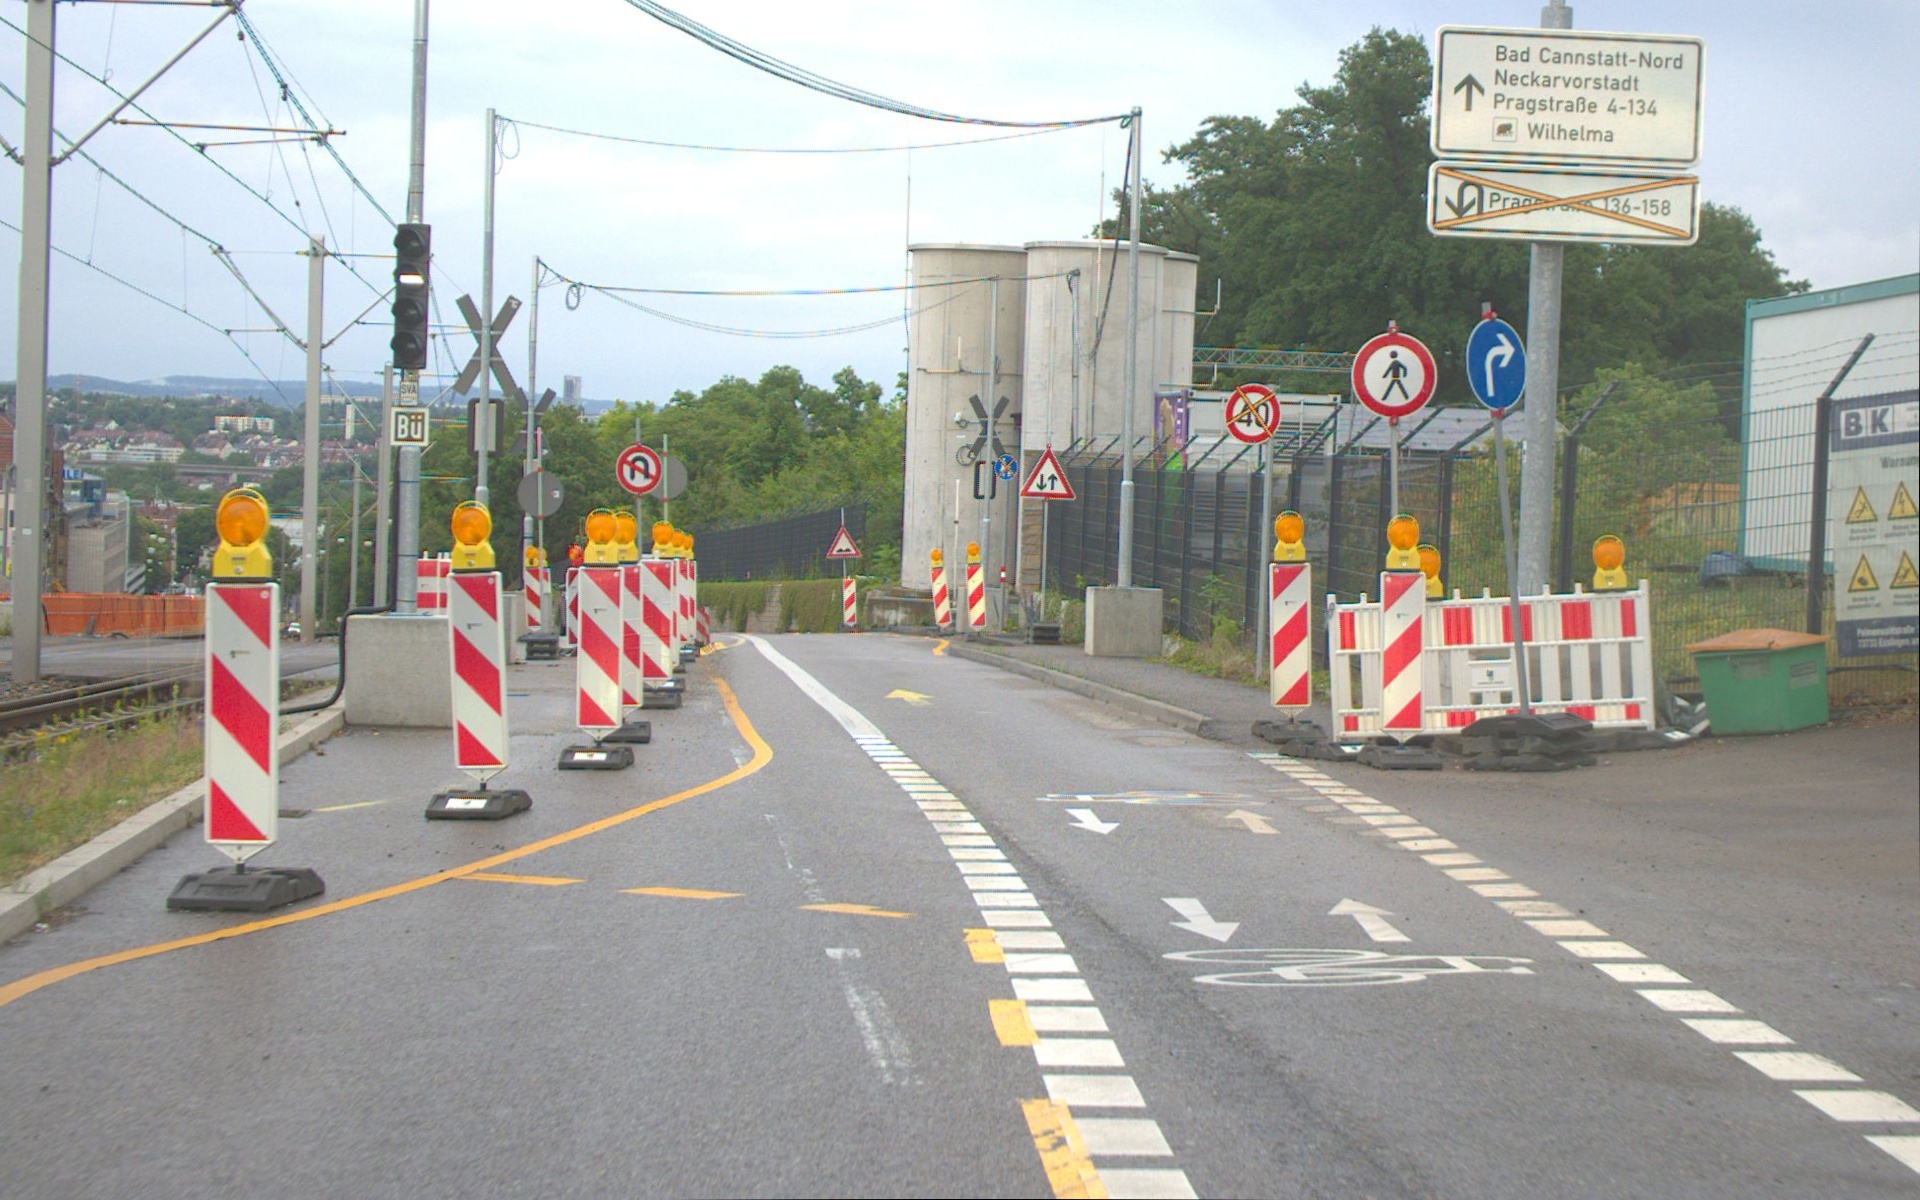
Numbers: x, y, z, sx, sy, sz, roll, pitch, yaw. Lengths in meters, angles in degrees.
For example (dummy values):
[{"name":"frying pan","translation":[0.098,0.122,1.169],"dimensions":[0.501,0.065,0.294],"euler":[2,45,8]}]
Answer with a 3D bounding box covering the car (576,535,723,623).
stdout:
[{"name":"car","translation":[-6.189,-0.420,68.123],"dimensions":[1.993,1.672,4.490],"euler":[0,1,-17]}]
